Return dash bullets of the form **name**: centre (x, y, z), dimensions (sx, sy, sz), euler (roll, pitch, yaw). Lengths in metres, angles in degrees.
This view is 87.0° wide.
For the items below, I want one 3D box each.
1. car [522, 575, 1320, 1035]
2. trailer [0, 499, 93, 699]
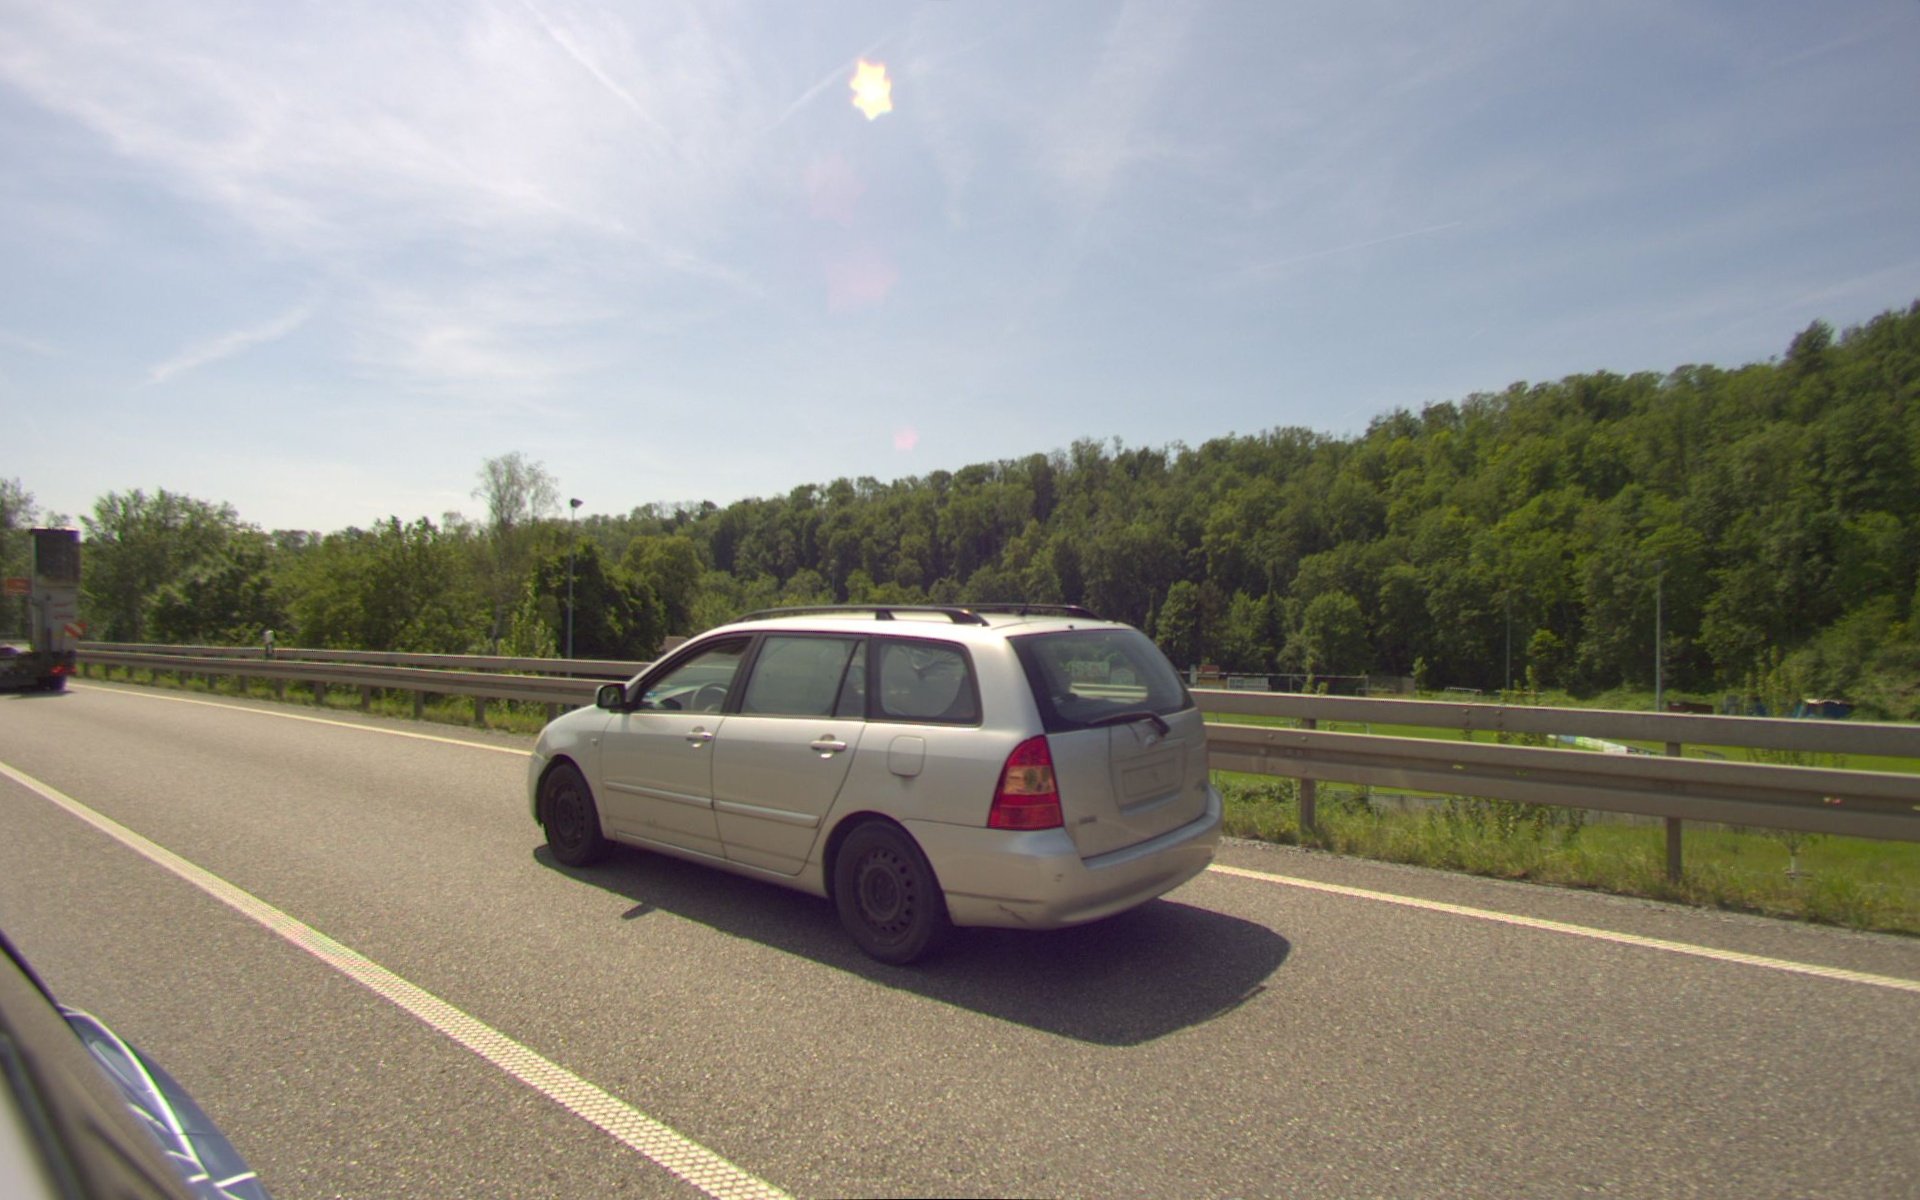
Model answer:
- **car**: centre (-0.489, 0.709, 5.363), dimensions (4.168, 1.505, 1.750), euler (-1, -1, 41)
- **trailer**: centre (-25.353, 0.111, 24.945), dimensions (15.334, 4.010, 3.089), euler (-1, -1, 38)
